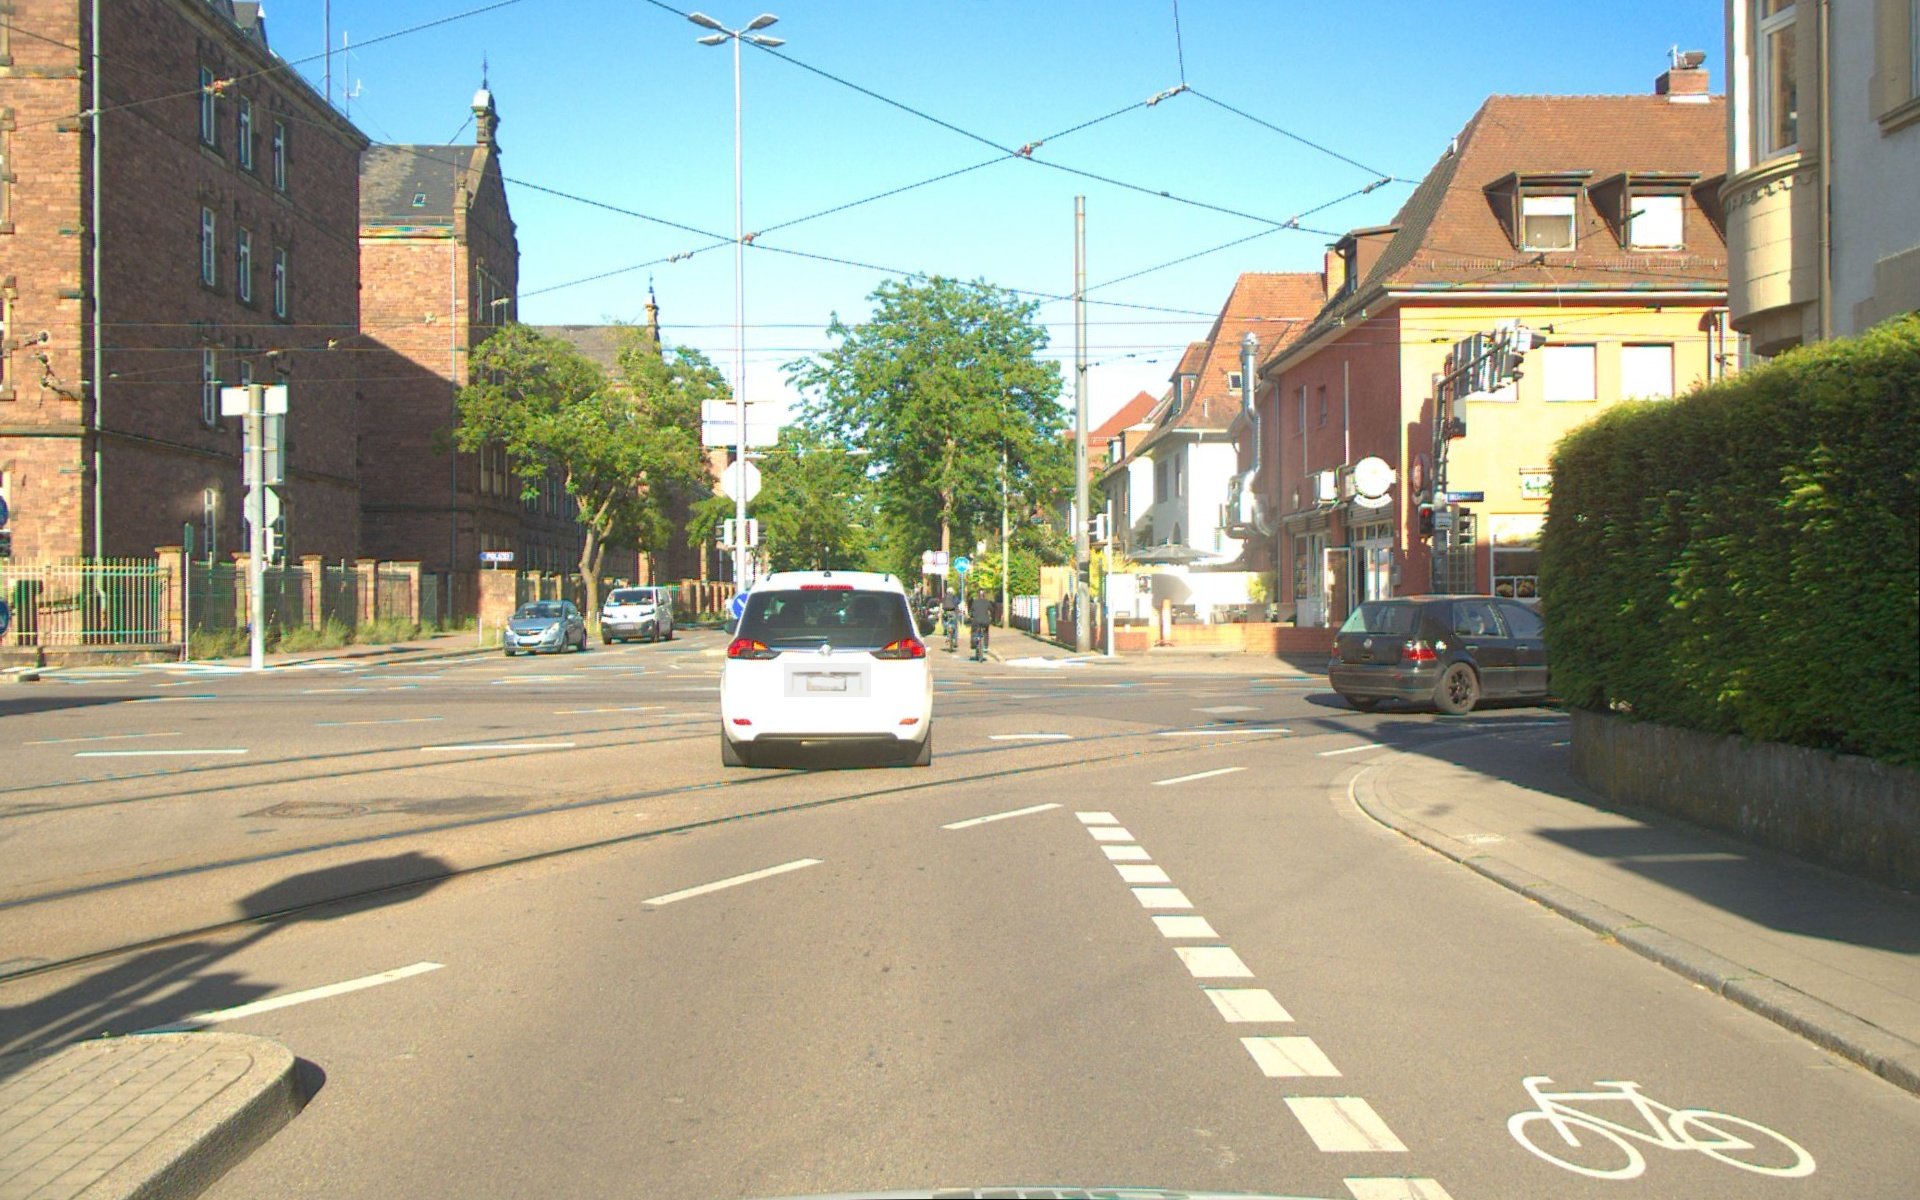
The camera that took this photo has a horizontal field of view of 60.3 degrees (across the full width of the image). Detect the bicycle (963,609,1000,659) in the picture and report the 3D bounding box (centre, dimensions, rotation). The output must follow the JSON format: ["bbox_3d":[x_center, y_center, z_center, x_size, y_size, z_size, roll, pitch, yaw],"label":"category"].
[{"bbox_3d":[0.510,0.809,40.182,0.812,1.175,2.094,0,0,-2],"label":"bicycle"}]

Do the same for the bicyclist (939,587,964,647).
[{"bbox_3d":[-0.237,0.464,45.891,0.671,1.663,1.015,0,0,1],"label":"bicyclist"}]

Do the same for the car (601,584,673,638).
[{"bbox_3d":[-11.060,0.369,56.839,1.854,1.815,3.879,0,0,-2],"label":"car"}]

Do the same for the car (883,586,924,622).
[{"bbox_3d":[-2.697,0.195,79.904,1.739,1.660,3.881,0,0,1],"label":"car"}]

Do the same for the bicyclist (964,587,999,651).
[{"bbox_3d":[0.507,0.453,40.210,0.804,1.528,0.934,0,0,-2],"label":"bicyclist"}]

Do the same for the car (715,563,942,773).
[{"bbox_3d":[-1.075,0.552,15.150,1.797,1.670,3.918,0,0,-1],"label":"car"}]

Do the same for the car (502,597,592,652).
[{"bbox_3d":[-11.477,0.659,46.163,1.548,1.466,3.584,0,0,1],"label":"car"}]

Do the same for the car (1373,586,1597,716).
[{"bbox_3d":[6.377,0.558,20.514,1.554,1.445,3.900,-1,0,0],"label":"car"}]

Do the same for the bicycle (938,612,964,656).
[{"bbox_3d":[-0.241,0.926,45.832,0.671,1.177,1.619,1,0,1],"label":"bicycle"}]

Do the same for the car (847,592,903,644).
[{"bbox_3d":[-2.780,0.592,54.721,1.740,1.660,3.879,0,0,-1],"label":"car"}]
